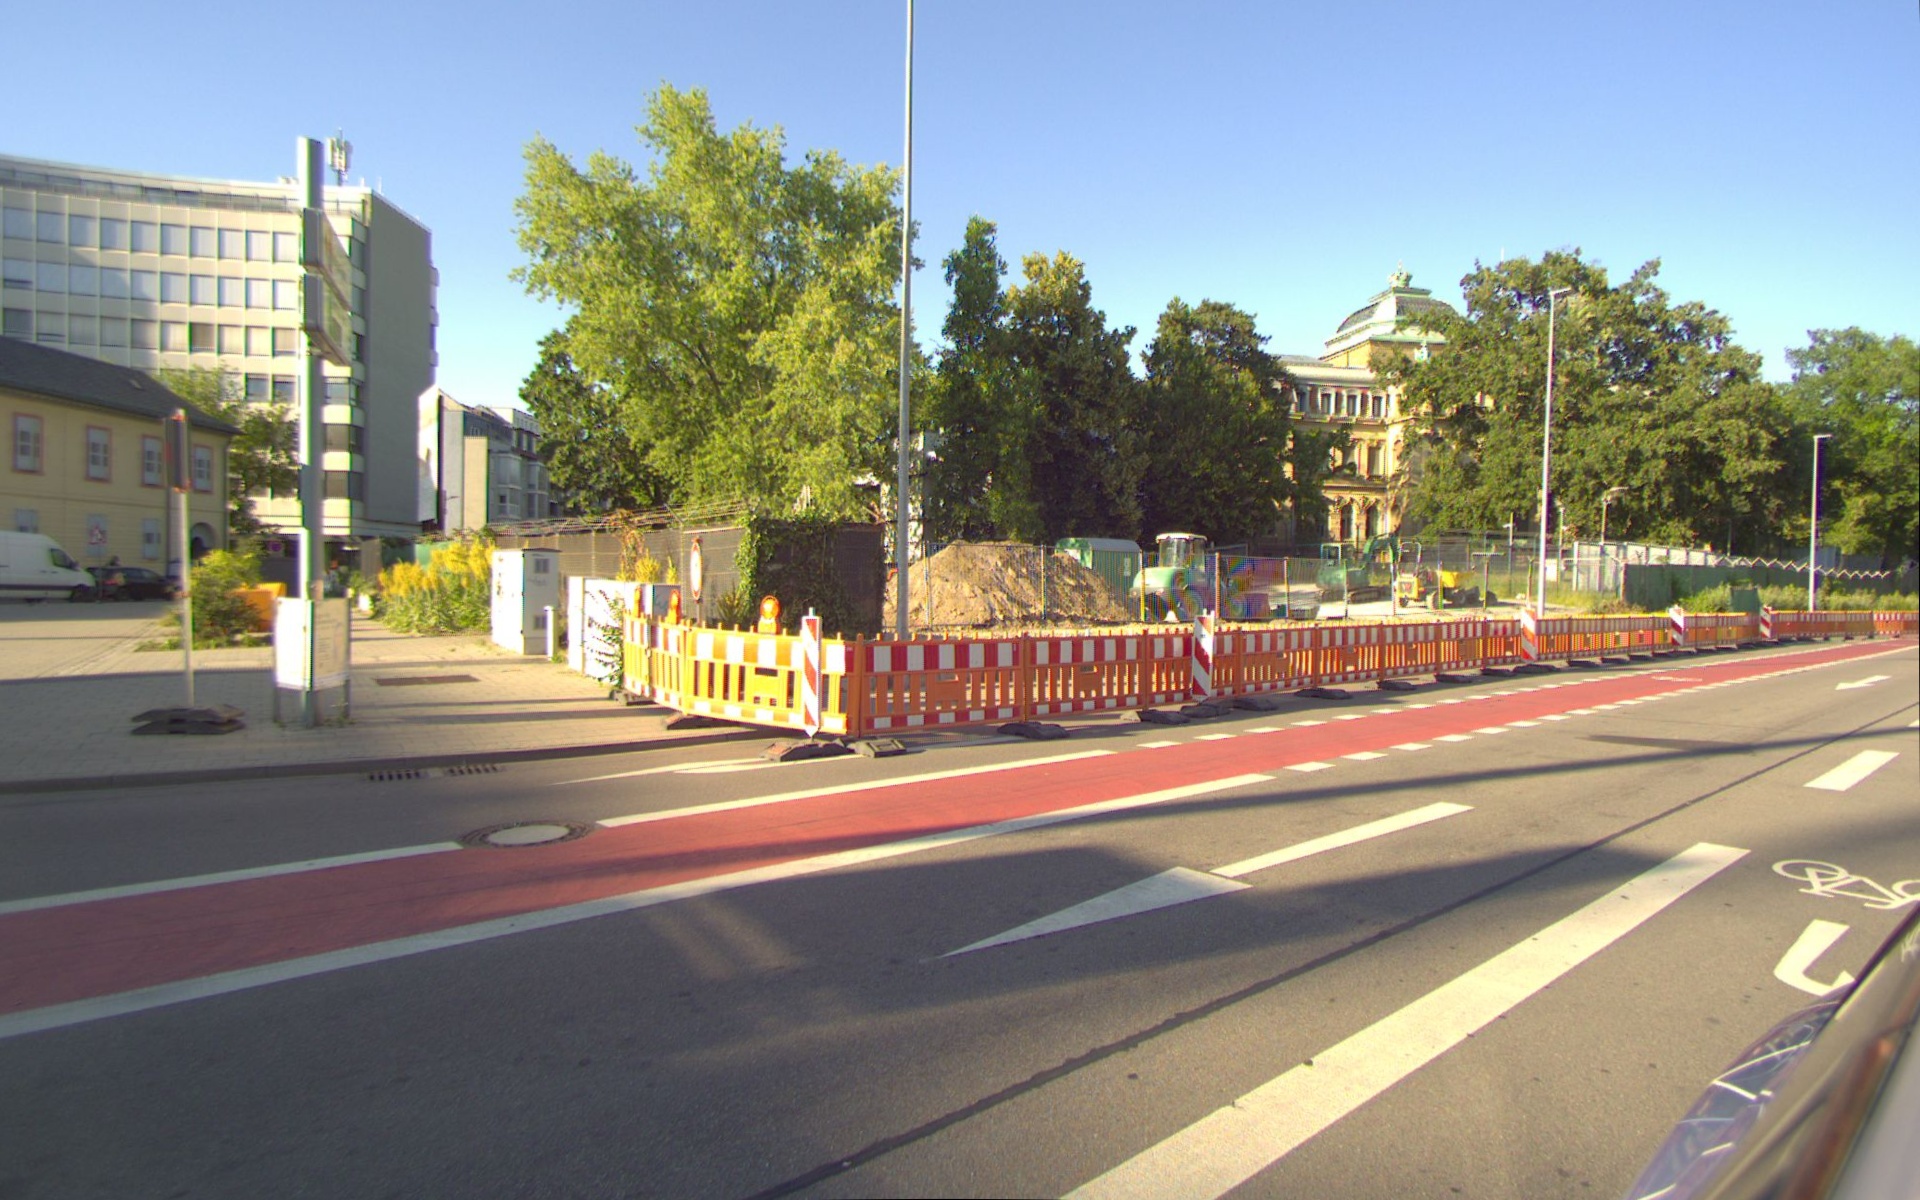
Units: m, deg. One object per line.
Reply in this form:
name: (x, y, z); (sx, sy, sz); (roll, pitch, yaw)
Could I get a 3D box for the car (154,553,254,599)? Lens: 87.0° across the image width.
car: (-34.404, -1.087, 46.174); (1.682, 2.005, 3.761); (0, 0, 1)

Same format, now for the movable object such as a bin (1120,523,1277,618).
movable object such as a bin: (7.430, -0.875, 31.297); (4.920, 2.717, 1.999); (-1, 0, -36)

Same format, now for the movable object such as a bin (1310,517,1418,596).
movable object such as a bin: (18.151, -1.871, 45.378); (5.274, 3.371, 1.999); (-1, 0, -36)

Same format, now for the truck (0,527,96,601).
truck: (-34.323, -1.256, 36.060); (2.258, 2.581, 5.638); (0, 0, 1)

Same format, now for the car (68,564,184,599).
car: (-34.349, -0.734, 41.819); (1.682, 1.382, 3.761); (0, 0, 1)

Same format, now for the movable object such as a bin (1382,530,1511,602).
movable object such as a bin: (20.418, -1.366, 42.358); (5.750, 2.852, 2.002); (-1, 0, -30)
